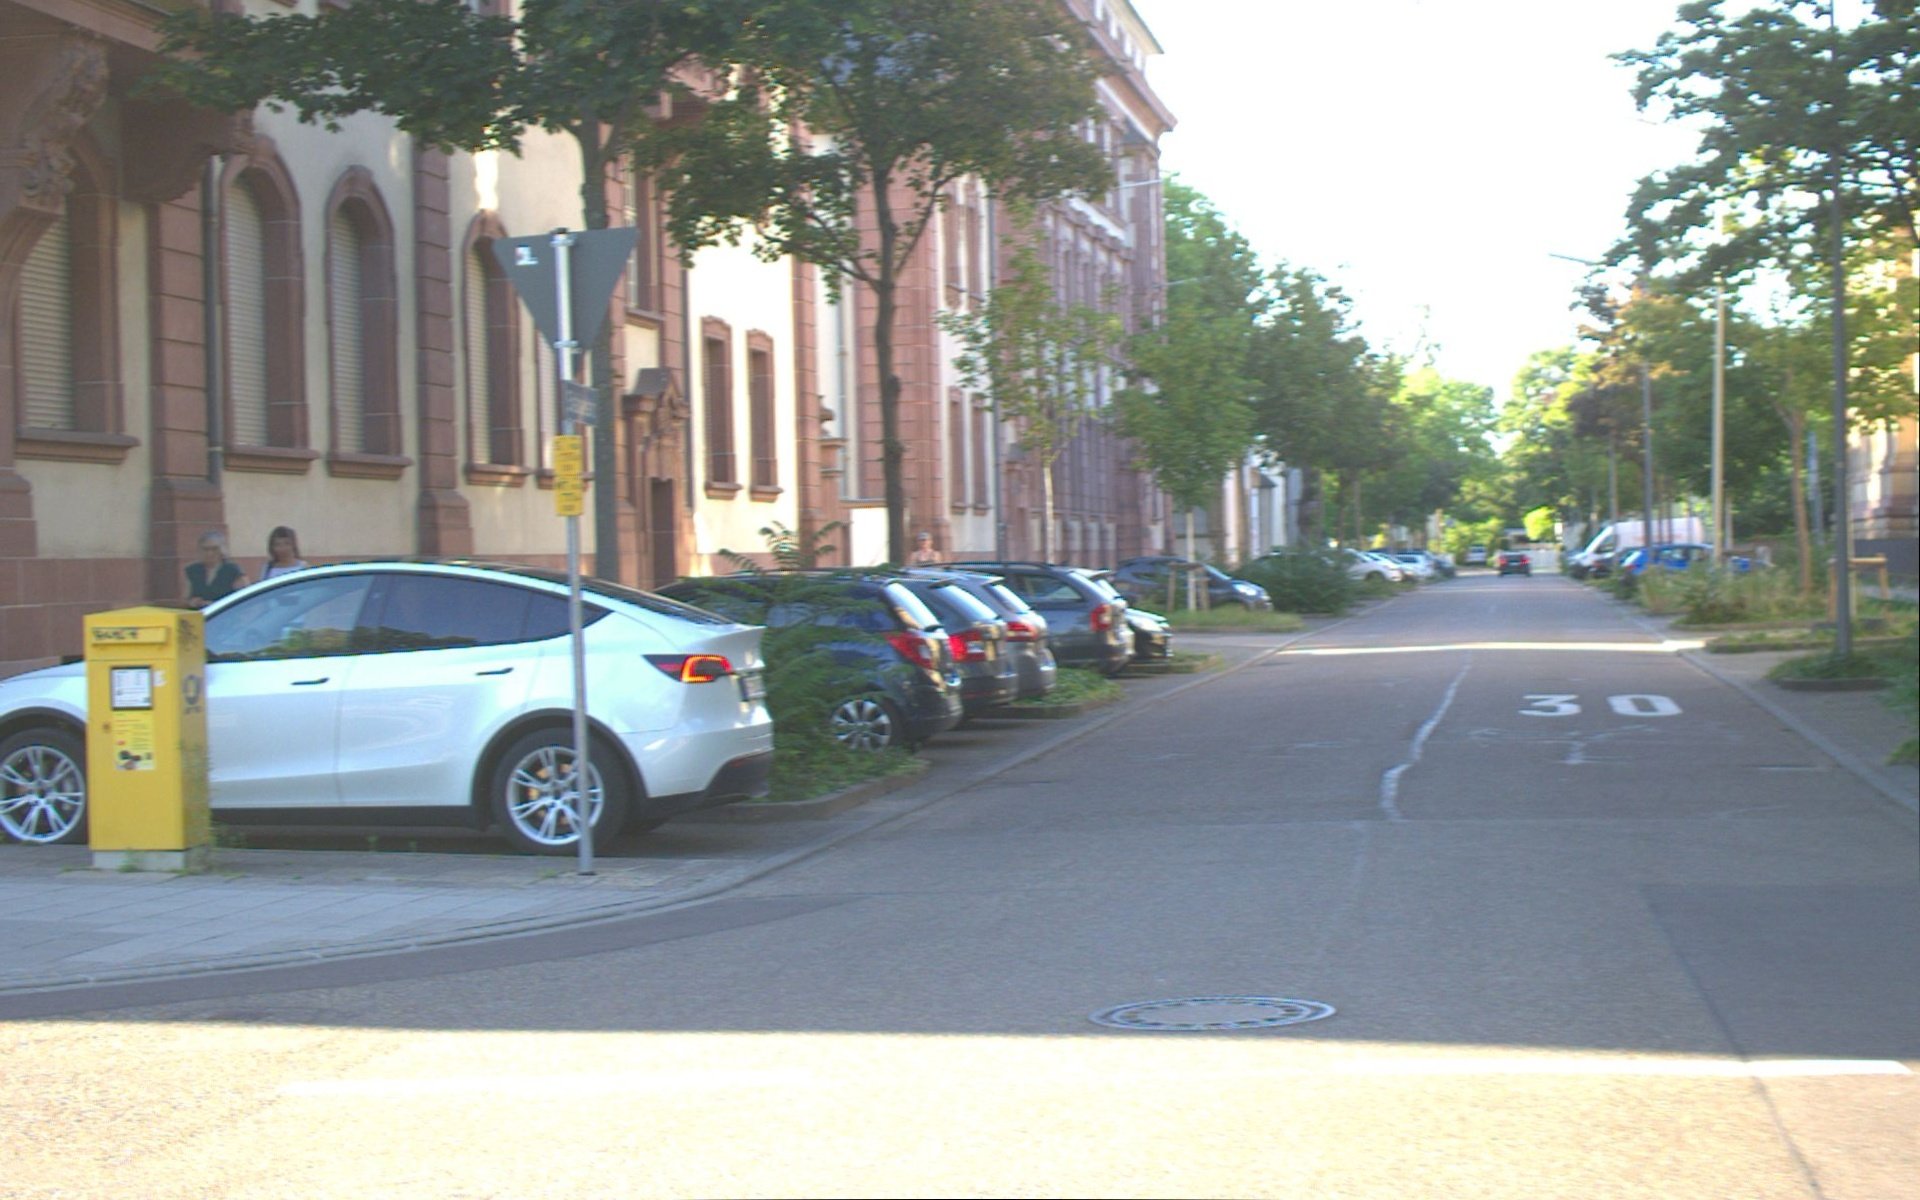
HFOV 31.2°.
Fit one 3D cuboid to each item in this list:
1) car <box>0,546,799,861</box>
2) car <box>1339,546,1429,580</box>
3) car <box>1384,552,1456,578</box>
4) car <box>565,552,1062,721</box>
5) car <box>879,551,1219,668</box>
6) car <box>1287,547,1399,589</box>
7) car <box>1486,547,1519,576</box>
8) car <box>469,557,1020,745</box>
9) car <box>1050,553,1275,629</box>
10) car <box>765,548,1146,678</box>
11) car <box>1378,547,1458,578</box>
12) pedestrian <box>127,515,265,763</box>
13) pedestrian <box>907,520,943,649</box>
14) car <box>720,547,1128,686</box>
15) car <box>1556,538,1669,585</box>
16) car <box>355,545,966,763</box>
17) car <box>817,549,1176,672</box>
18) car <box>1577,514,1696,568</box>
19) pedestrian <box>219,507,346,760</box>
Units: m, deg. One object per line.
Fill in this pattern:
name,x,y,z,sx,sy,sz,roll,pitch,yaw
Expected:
car,-3.407,0.528,19.457,4.707,1.584,1.966,1,1,7
car,20.028,-1.736,162.412,4.091,1.489,1.932,-1,1,10
car,27.324,-2.083,204.111,4.091,1.489,1.932,-1,1,10
car,-1.317,0.309,32.112,4.380,1.491,1.966,0,1,7
car,1.222,0.106,45.869,4.380,1.491,1.966,0,1,7
car,14.543,-1.213,130.425,4.091,1.489,1.932,-1,1,10
car,32.361,-2.291,205.185,1.744,1.700,3.673,-1,1,6
car,-1.773,0.399,29.149,4.380,1.491,1.966,0,1,7
car,4.146,-0.196,69.953,4.380,1.491,1.966,0,1,9
car,-0.013,0.135,41.317,4.380,1.491,1.966,0,1,7
car,24.121,-1.973,180.909,4.091,1.489,1.932,-1,1,10
pedestrian,-5.741,0.282,25.860,0.788,1.834,0.716,0,1,12
pedestrian,-0.552,-0.247,54.272,0.435,2.007,0.463,-1,0,10
car,-0.364,0.163,38.743,4.380,1.491,1.966,0,1,7
car,23.996,-1.412,126.564,3.988,1.612,1.788,-1,1,10
car,-2.244,0.378,26.477,4.380,1.579,1.966,0,1,7
car,0.500,0.112,43.766,4.380,1.491,1.966,0,1,7
car,27.847,-2.444,141.606,4.706,2.096,1.999,-1,1,10
pedestrian,-5.007,0.236,25.430,0.724,1.834,0.612,1,1,12
